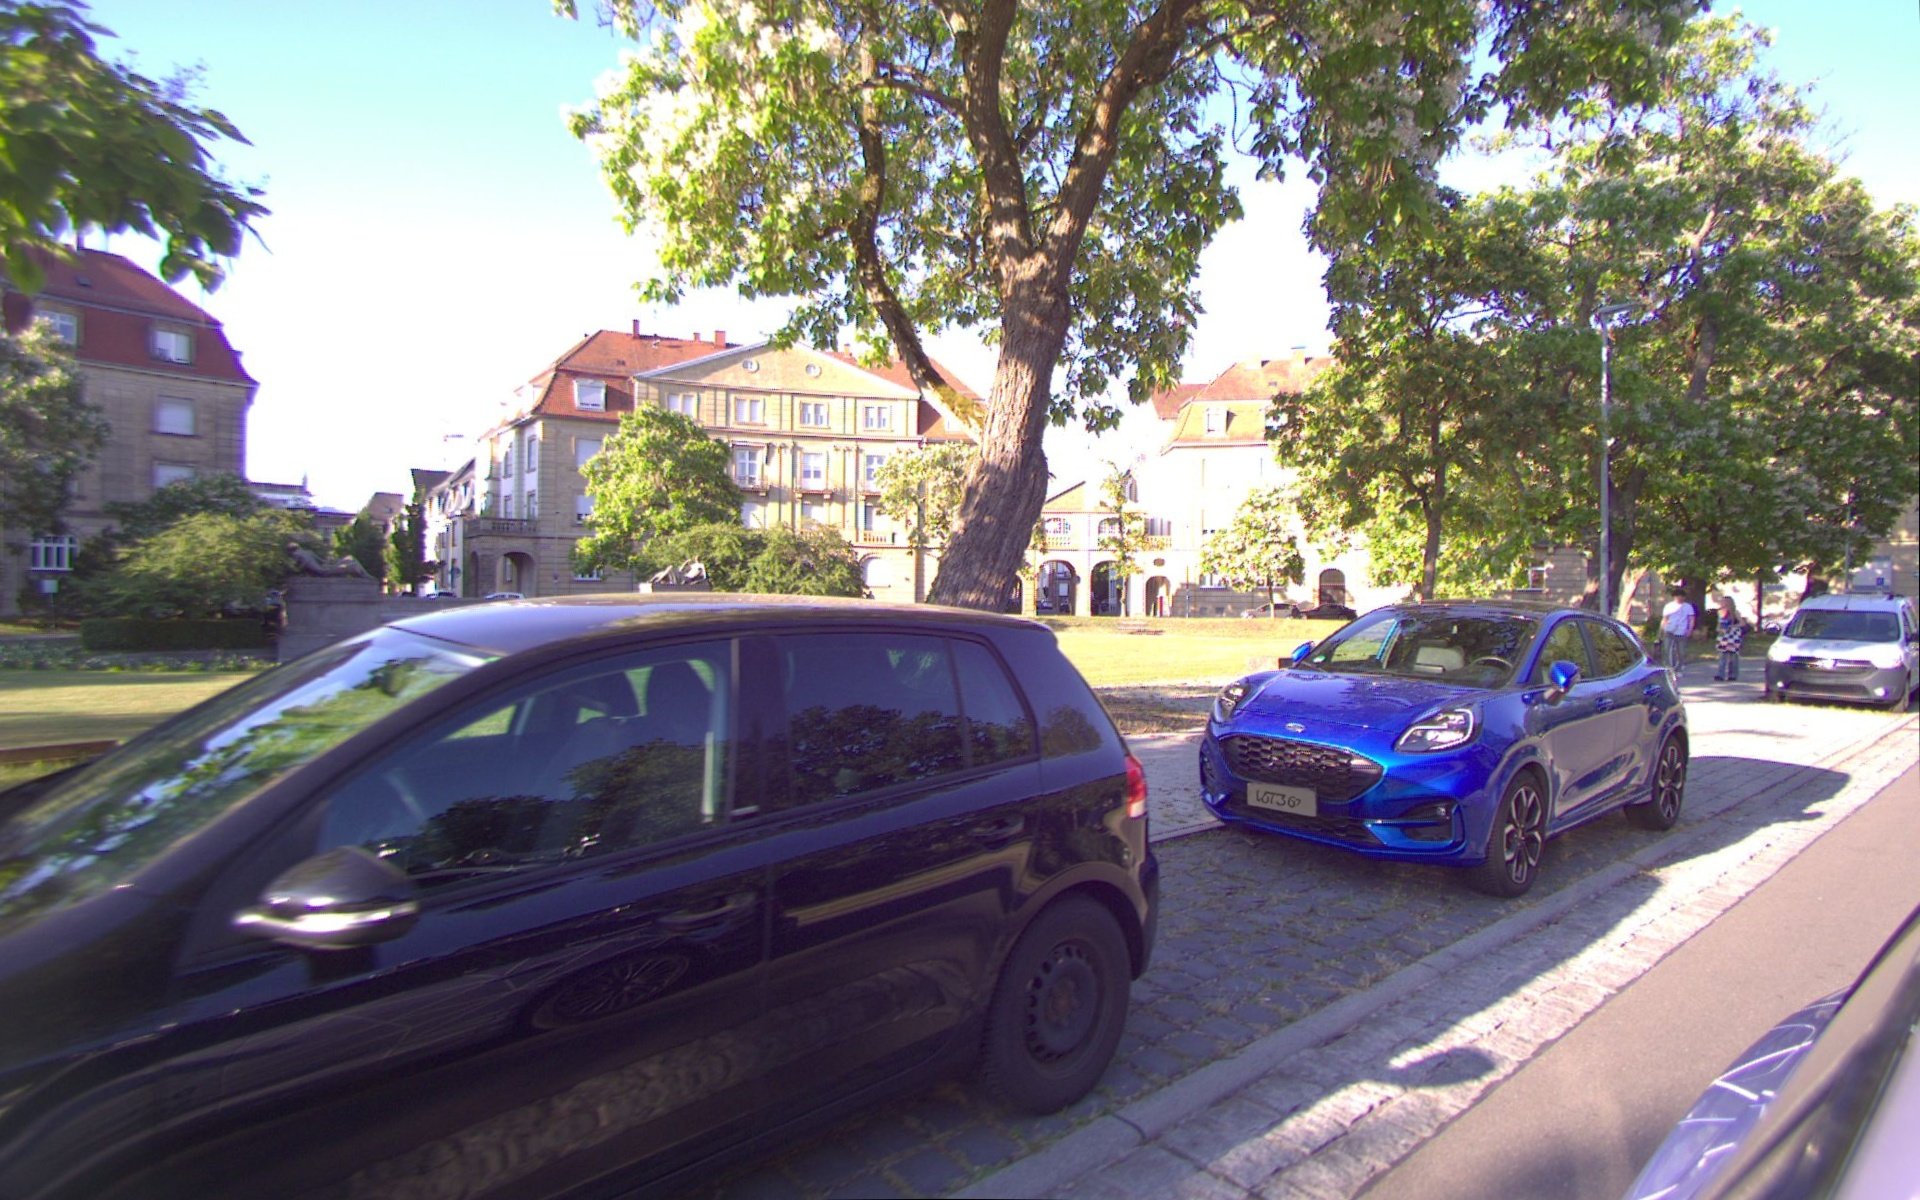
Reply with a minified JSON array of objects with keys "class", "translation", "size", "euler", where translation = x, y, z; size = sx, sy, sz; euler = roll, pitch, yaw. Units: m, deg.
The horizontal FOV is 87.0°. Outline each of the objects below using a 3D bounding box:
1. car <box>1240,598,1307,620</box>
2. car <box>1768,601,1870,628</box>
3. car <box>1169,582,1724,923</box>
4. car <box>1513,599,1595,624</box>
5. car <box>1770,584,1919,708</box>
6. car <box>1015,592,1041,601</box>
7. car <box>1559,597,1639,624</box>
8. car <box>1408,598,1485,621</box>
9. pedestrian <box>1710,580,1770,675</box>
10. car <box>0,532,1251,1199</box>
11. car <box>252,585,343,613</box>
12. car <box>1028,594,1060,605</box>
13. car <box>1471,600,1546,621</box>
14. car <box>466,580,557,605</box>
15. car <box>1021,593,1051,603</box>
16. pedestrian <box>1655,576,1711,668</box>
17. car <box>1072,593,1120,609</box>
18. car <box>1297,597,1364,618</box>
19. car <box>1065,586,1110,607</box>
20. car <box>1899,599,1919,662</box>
[{"class":"car","translation":[21.671,0.591,69.939],"size":[4.317,1.435,1.808],"euler":[1,1,20]},{"class":"car","translation":[50.216,0.810,59.235],"size":[4.440,1.436,1.905],"euler":[1,1,45]},{"class":"car","translation":[3.402,0.681,6.687],"size":[4.199,1.570,1.735],"euler":[0,1,-40]},{"class":"car","translation":[36.811,0.680,62.805],"size":[4.330,1.435,1.826],"euler":[1,1,30]},{"class":"car","translation":[14.844,0.639,16.618],"size":[4.435,1.761,1.681],"euler":[0,1,-41]},{"class":"car","translation":[11.582,-0.580,172.853],"size":[4.288,1.435,1.820],"euler":[0,1,0]},{"class":"car","translation":[41.866,0.674,66.421],"size":[4.419,1.620,1.782],"euler":[1,1,32]},{"class":"car","translation":[31.543,0.596,65.697],"size":[4.395,1.435,1.552],"euler":[1,1,27]},{"class":"pedestrian","translation":[14.828,0.513,19.247],"size":[0.718,1.758,0.754],"euler":[1,-1,-40]},{"class":"car","translation":[-1.198,0.675,2.614],"size":[4.347,1.570,1.734],"euler":[0,1,-42]},{"class":"car","translation":[-36.180,-0.074,55.305],"size":[4.023,1.435,1.817],"euler":[0,1,-40]},{"class":"car","translation":[11.759,-0.087,141.322],"size":[4.288,1.435,1.820],"euler":[0,1,0]},{"class":"car","translation":[37.475,0.719,69.250],"size":[4.412,1.341,1.491],"euler":[1,1,28]},{"class":"car","translation":[-27.492,-0.462,62.105],"size":[4.854,1.435,1.820],"euler":[0,1,-34]},{"class":"car","translation":[11.416,-0.255,151.923],"size":[4.288,1.435,1.820],"euler":[0,1,0]},{"class":"pedestrian","translation":[14.230,0.426,19.918],"size":[0.718,1.758,0.726],"euler":[1,-1,-40]},{"class":"car","translation":[13.189,0.089,98.201],"size":[4.283,1.435,1.822],"euler":[0,1,-6]},{"class":"car","translation":[27.153,0.561,74.324],"size":[4.589,1.435,1.809],"euler":[1,1,19]},{"class":"car","translation":[13.151,-0.359,104.487],"size":[4.285,2.134,1.821],"euler":[0,0,-3]},{"class":"car","translation":[25.182,0.746,25.574],"size":[4.726,1.504,1.681],"euler":[0,1,-41]}]
